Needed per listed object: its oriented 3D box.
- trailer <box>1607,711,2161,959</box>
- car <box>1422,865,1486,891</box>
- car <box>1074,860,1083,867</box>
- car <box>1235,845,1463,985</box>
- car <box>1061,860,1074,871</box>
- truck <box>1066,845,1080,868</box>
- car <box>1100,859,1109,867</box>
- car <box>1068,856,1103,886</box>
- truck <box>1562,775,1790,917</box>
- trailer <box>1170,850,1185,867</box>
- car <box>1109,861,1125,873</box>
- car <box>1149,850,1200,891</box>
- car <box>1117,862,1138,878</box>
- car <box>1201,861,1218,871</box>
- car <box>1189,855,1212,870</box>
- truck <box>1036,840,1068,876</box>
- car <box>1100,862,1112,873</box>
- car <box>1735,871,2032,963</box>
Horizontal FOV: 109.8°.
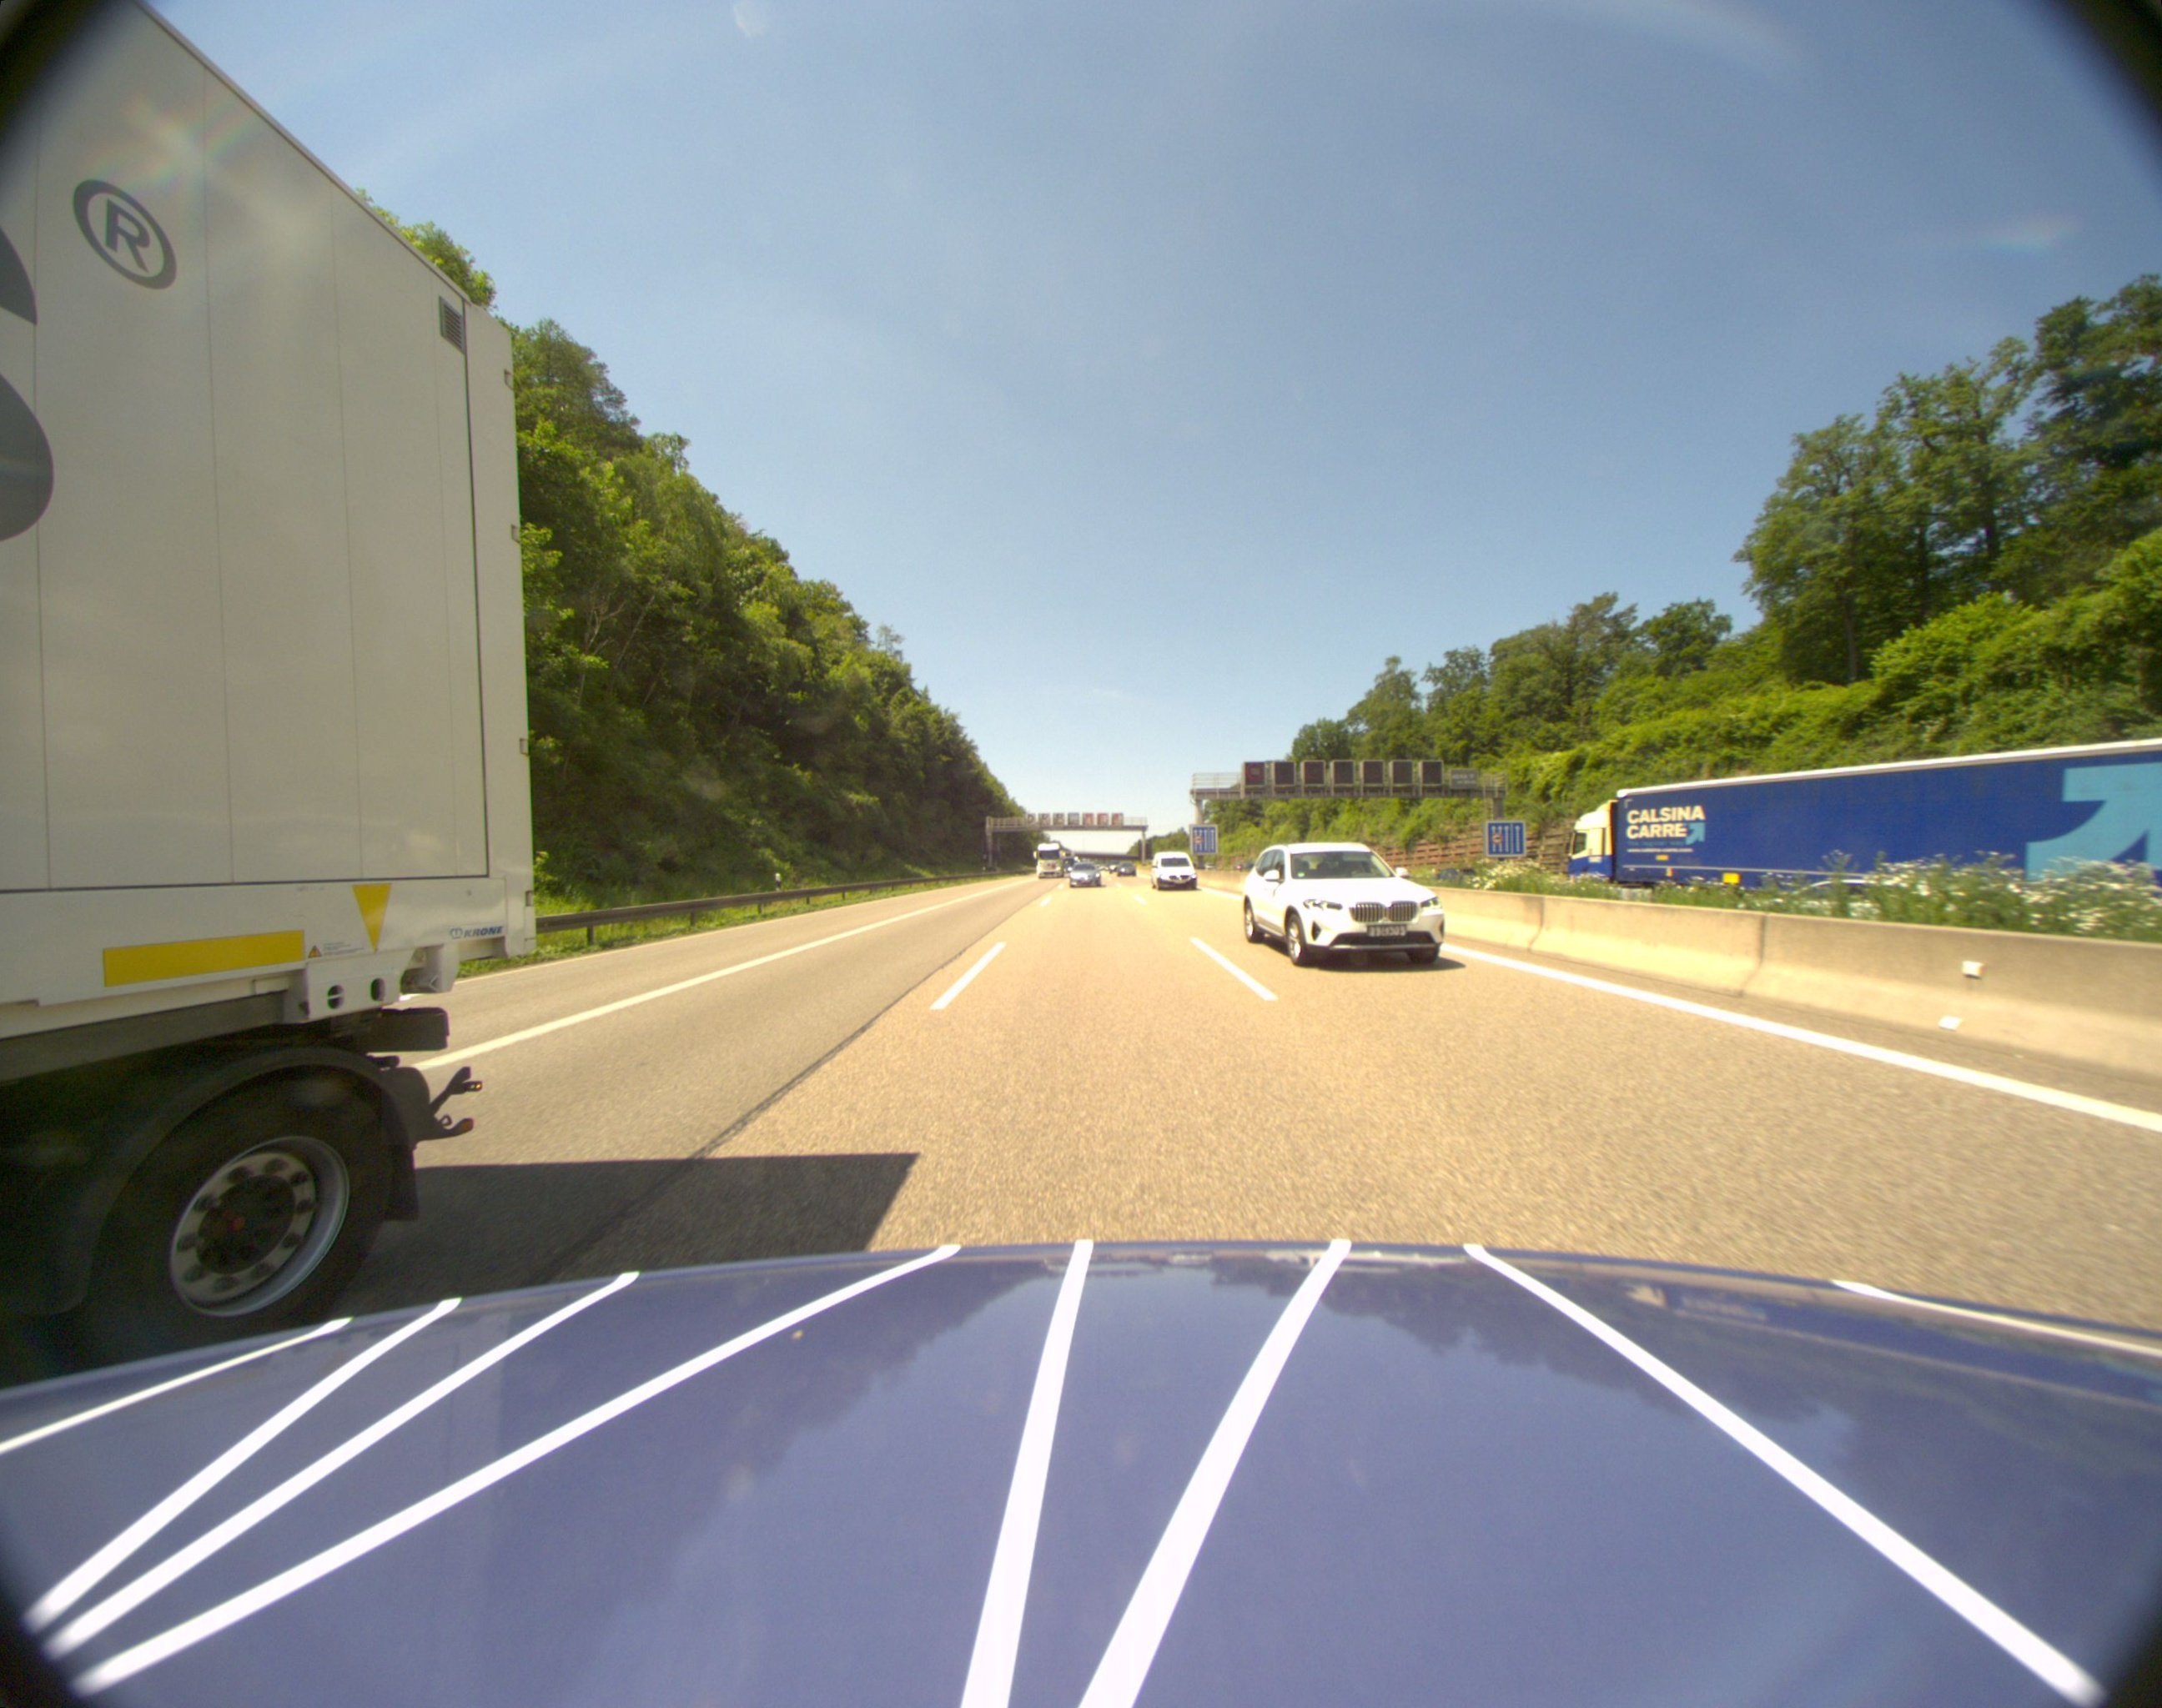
[{"bbox_3d":[18.791,-0.266,18.100,2.687,3.991,14.189,-1,0,0],"label":"trailer"},{"bbox_3d":[22.738,1.453,46.483,1.789,1.517,4.373,0,-1,1],"label":"car"},{"bbox_3d":[-0.642,2.520,199.867,1.924,1.849,4.001,-3,0,2],"label":"car"},{"bbox_3d":[3.700,0.776,11.431,1.850,1.634,4.369,-2,-1,0],"label":"car"},{"bbox_3d":[-2.011,1.738,112.882,1.770,1.504,4.000,-3,0,0],"label":"car"},{"bbox_3d":[-1.605,0.560,159.028,2.627,4.364,13.088,-3,0,0],"label":"truck"},{"bbox_3d":[5.625,2.165,180.011,1.924,1.849,4.001,-3,0,2],"label":"car"},{"bbox_3d":[0.298,0.957,44.236,1.843,1.518,4.502,-3,0,2],"label":"car"},{"bbox_3d":[18.813,-0.207,24.592,2.687,4.007,5.931,-1,0,0],"label":"truck"},{"bbox_3d":[25.549,1.234,202.301,2.985,4.182,14.469,1,0,3],"label":"trailer"},{"bbox_3d":[4.714,1.703,99.596,1.770,1.504,4.000,-3,0,0],"label":"car"},{"bbox_3d":[4.450,0.787,36.746,1.998,1.764,4.502,-3,0,2],"label":"car"},{"bbox_3d":[4.615,1.549,76.035,1.770,1.504,4.726,-3,0,0],"label":"car"},{"bbox_3d":[19.265,1.845,114.279,1.903,1.517,4.373,0,-1,1],"label":"car"},{"bbox_3d":[12.994,0.937,82.833,1.903,1.517,4.373,0,-1,1],"label":"car"},{"bbox_3d":[-3.078,0.476,84.682,2.844,3.517,13.088,-3,-1,0],"label":"truck"},{"bbox_3d":[4.554,2.411,138.553,1.924,1.849,4.001,-3,0,2],"label":"car"},{"bbox_3d":[14.702,1.079,14.266,1.662,1.368,3.712,-3,0,1],"label":"car"}]
